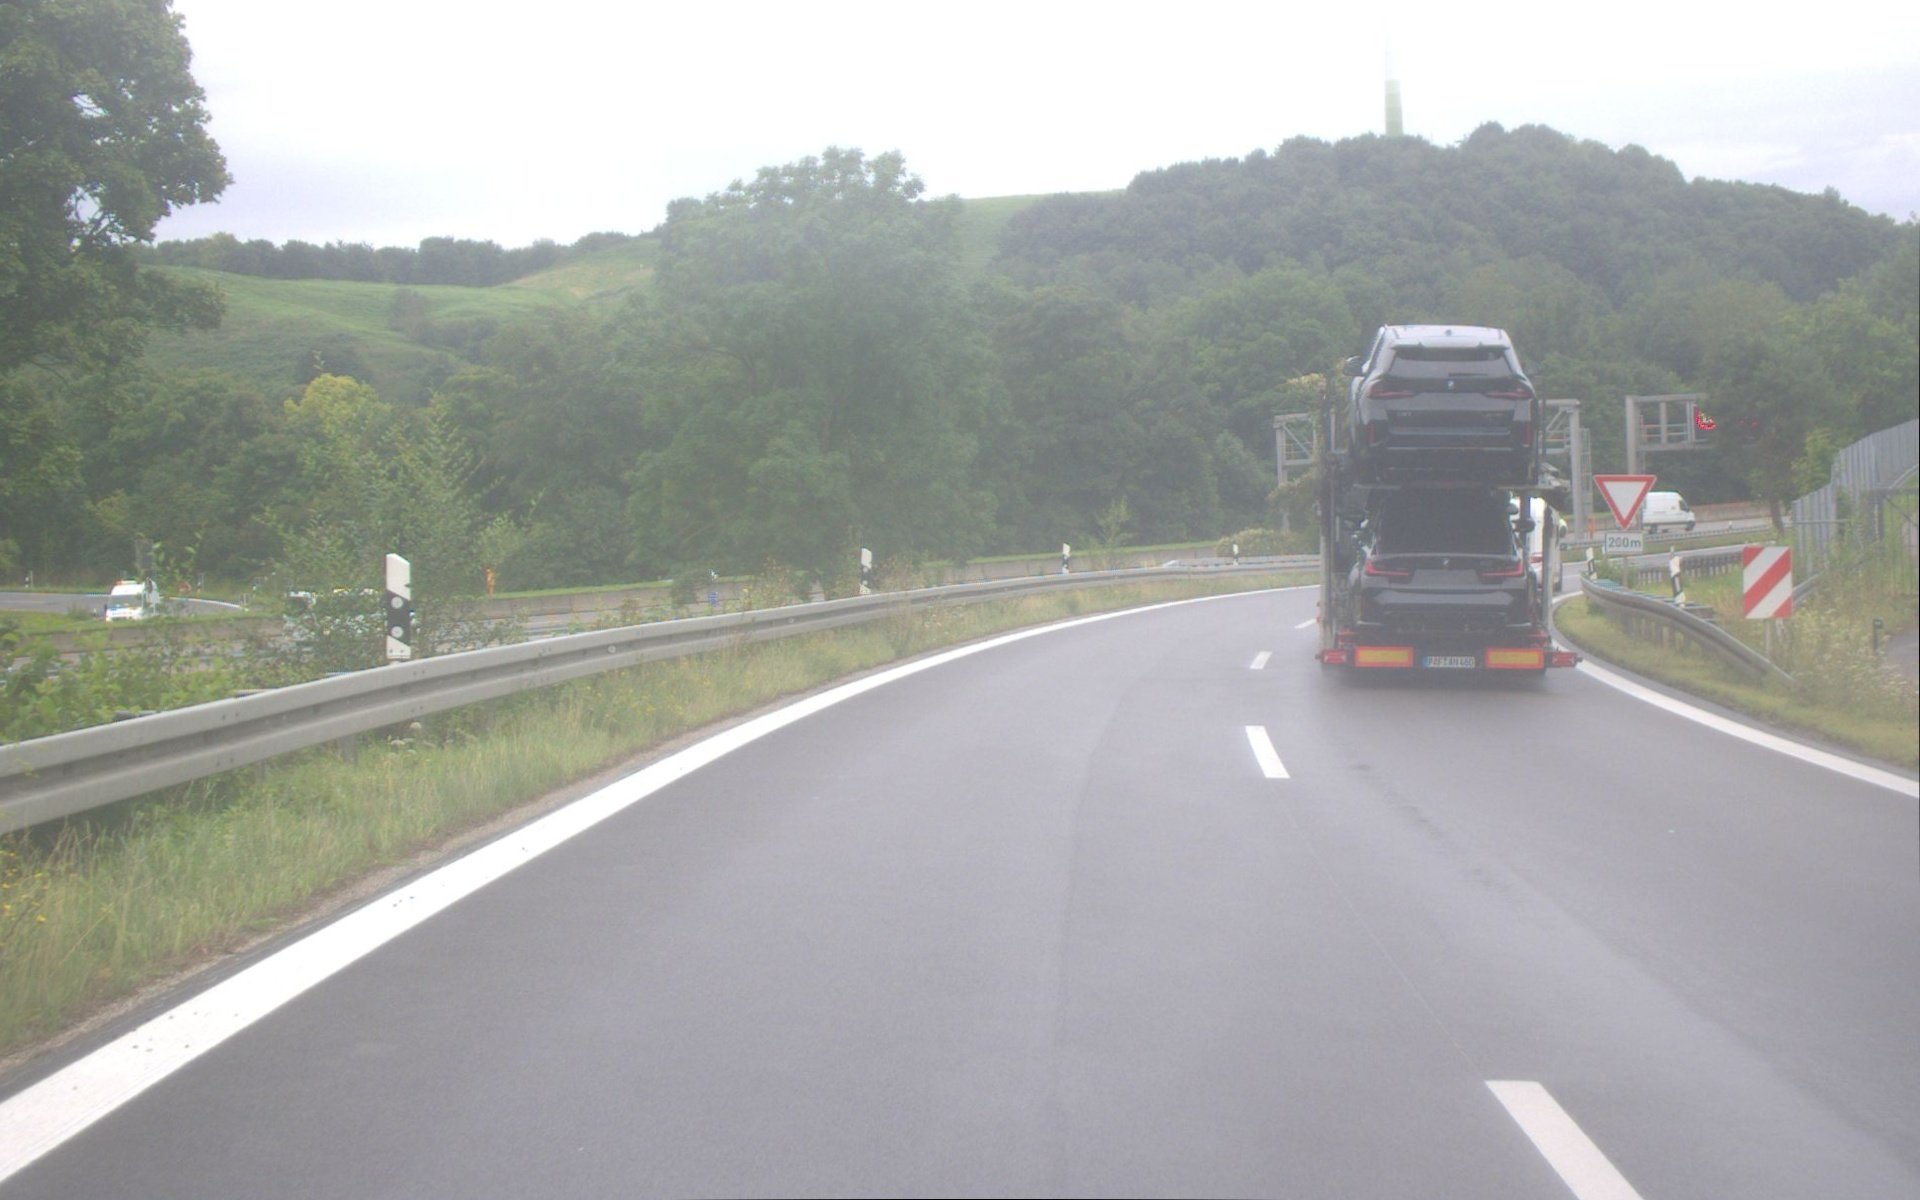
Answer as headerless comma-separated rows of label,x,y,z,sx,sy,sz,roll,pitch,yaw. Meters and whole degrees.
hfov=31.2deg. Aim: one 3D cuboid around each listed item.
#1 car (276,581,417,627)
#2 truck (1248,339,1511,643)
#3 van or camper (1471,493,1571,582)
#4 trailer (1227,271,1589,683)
car,-24.388,0.148,136.827,1.999,1.711,5.310,0,1,44
truck,6.137,-1.562,51.351,3.395,3.986,10.845,1,1,6
van or camper,14.609,-1.627,89.338,2.094,2.224,4.428,1,1,15
trailer,5.005,-1.332,39.893,3.450,3.986,12.024,1,1,6
